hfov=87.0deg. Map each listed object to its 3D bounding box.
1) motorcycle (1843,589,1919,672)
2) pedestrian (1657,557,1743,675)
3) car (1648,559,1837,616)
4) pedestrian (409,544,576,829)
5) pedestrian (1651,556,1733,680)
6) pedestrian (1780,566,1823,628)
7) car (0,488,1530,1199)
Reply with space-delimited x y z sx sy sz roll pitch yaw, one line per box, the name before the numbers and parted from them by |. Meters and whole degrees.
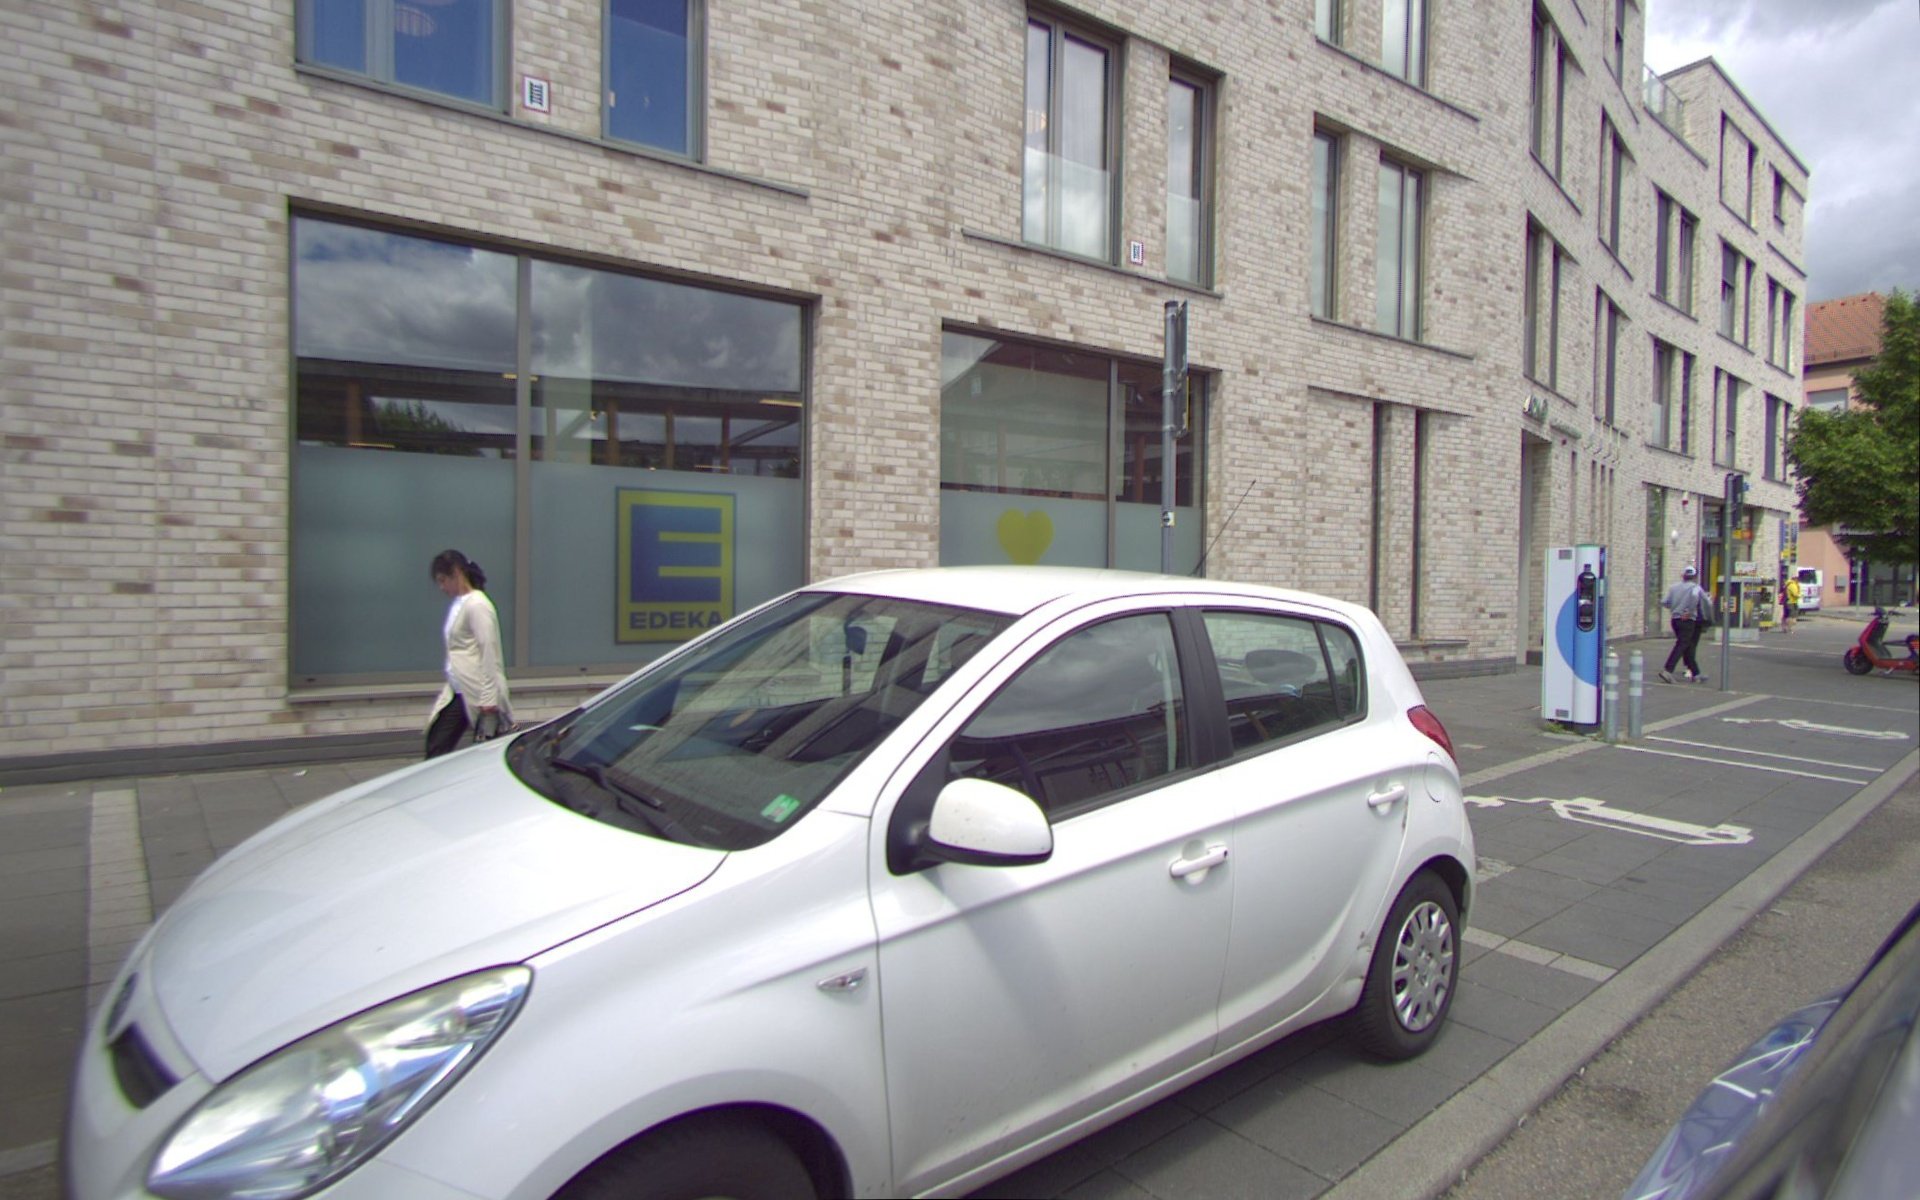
motorcycle | 15.737 0.514 16.374 0.658 1.281 2.062 0 4 -22
pedestrian | 11.560 0.232 15.830 0.720 1.788 0.759 0 2 -8
car | 29.862 -0.452 38.799 1.963 2.039 5.390 -1 0 -37
pedestrian | -2.662 0.440 5.747 0.775 1.490 0.610 1 2 -32
pedestrian | 10.786 0.244 14.938 0.725 1.788 0.622 1 2 9
pedestrian | 23.504 -0.088 28.278 0.620 1.713 0.660 0 1 1
car | -0.108 0.583 2.875 3.728 1.501 1.697 0 3 -39
